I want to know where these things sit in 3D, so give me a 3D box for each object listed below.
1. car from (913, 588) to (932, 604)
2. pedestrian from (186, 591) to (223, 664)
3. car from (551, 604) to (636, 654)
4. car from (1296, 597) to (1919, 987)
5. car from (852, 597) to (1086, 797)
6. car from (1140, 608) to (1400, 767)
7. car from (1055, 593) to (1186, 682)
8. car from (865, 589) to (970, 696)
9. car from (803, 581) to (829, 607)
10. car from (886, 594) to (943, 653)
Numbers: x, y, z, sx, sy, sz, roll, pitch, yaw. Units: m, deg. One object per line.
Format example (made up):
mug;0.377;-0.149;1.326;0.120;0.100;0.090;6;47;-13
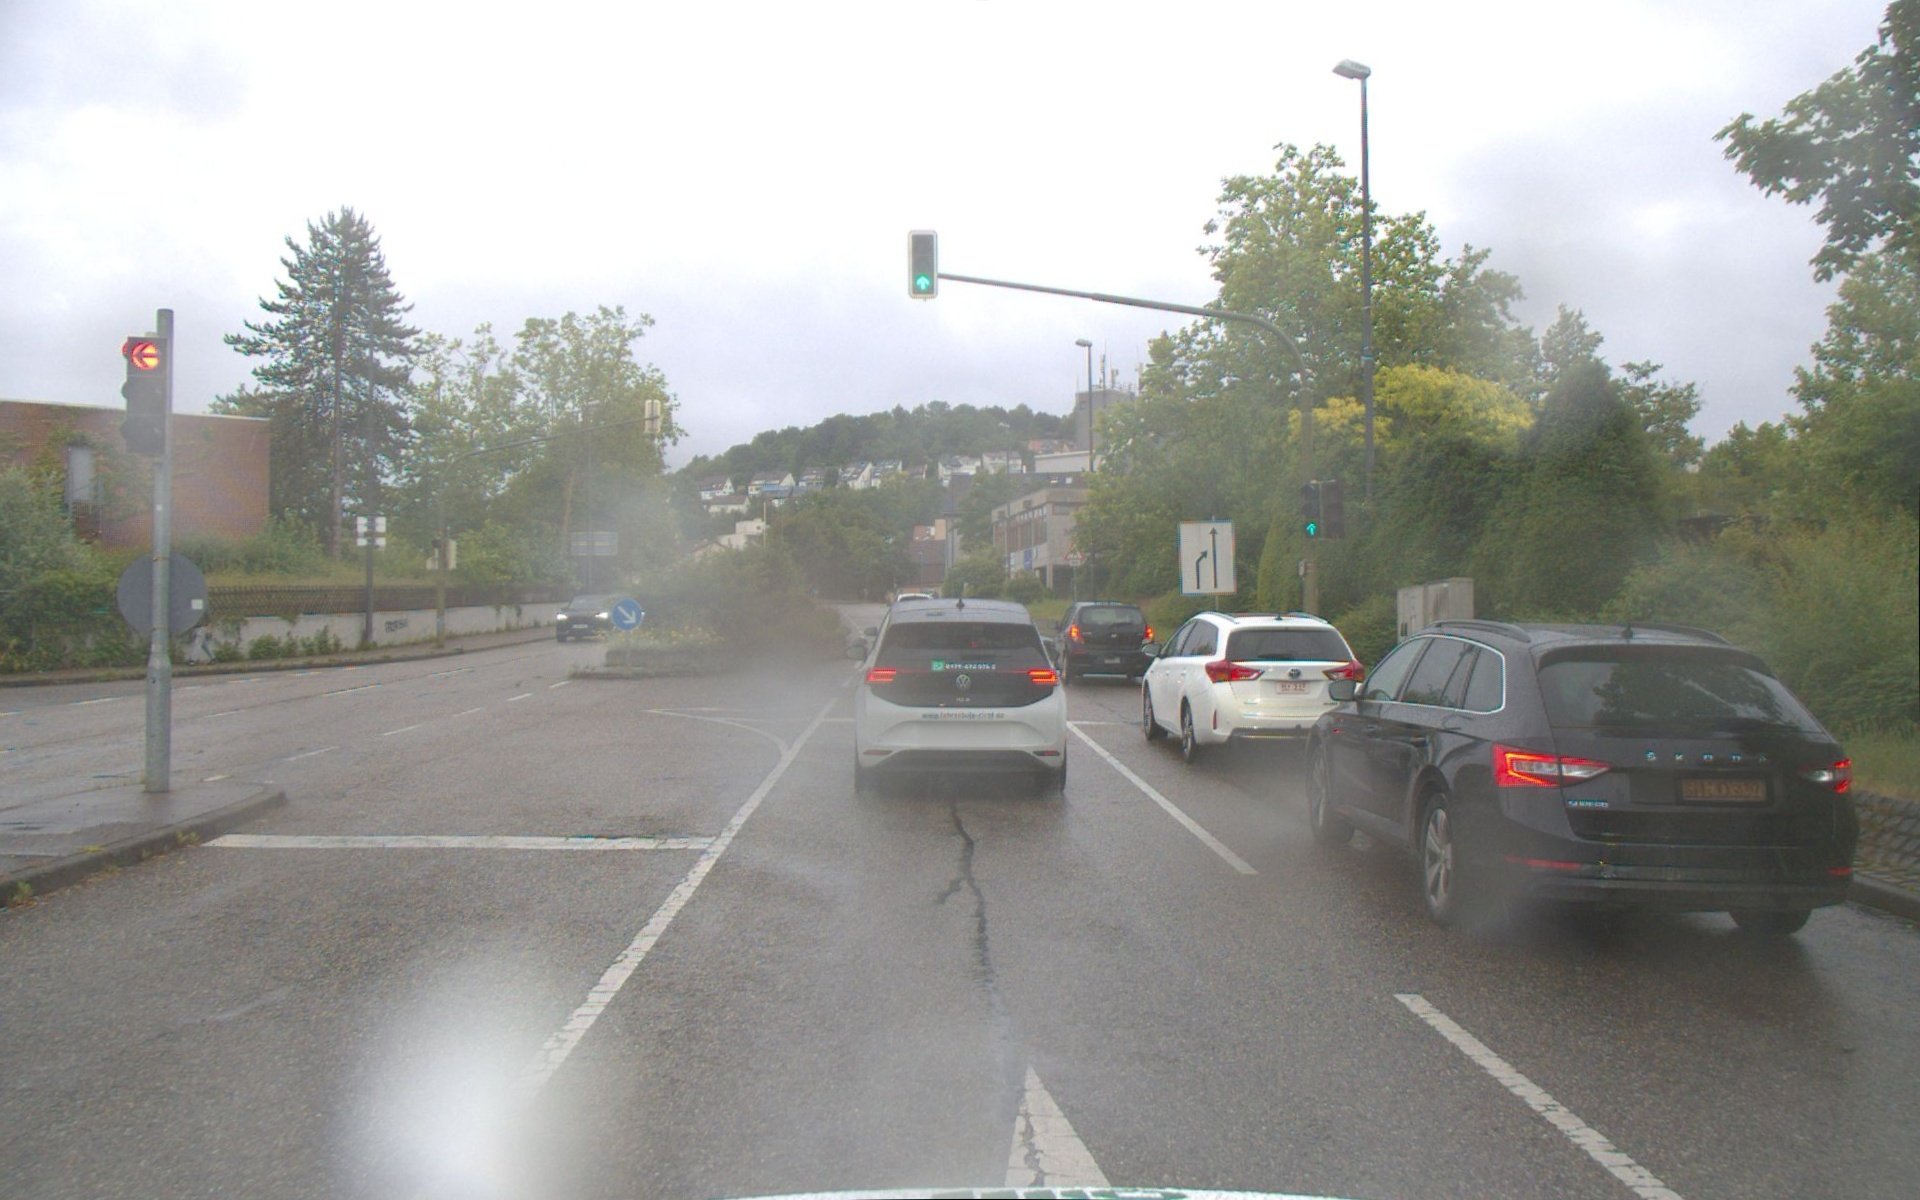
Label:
car;-3.632;-0.396;160.575;1.703;1.490;3.997;1;-1;-3
pedestrian;-17.454;0.632;38.213;0.541;1.671;0.499;-2;0;29
car;-12.233;0.948;55.471;1.910;1.504;4.295;-3;0;-1
car;3.270;0.811;9.093;1.914;1.534;4.608;2;-1;1
car;0.035;0.762;14.744;1.791;1.526;4.167;0;0;-1
car;3.045;0.809;17.131;1.810;1.434;4.300;0;0;-1
car;2.921;0.677;30.903;1.953;1.478;3.770;-3;0;-1
car;-0.741;0.608;26.466;1.536;1.556;3.997;0;1;-4
car;-11.807;-0.498;135.553;1.954;2.049;3.997;1;-1;-3
car;-1.640;0.836;60.138;1.953;2.049;3.999;1;-1;-1
